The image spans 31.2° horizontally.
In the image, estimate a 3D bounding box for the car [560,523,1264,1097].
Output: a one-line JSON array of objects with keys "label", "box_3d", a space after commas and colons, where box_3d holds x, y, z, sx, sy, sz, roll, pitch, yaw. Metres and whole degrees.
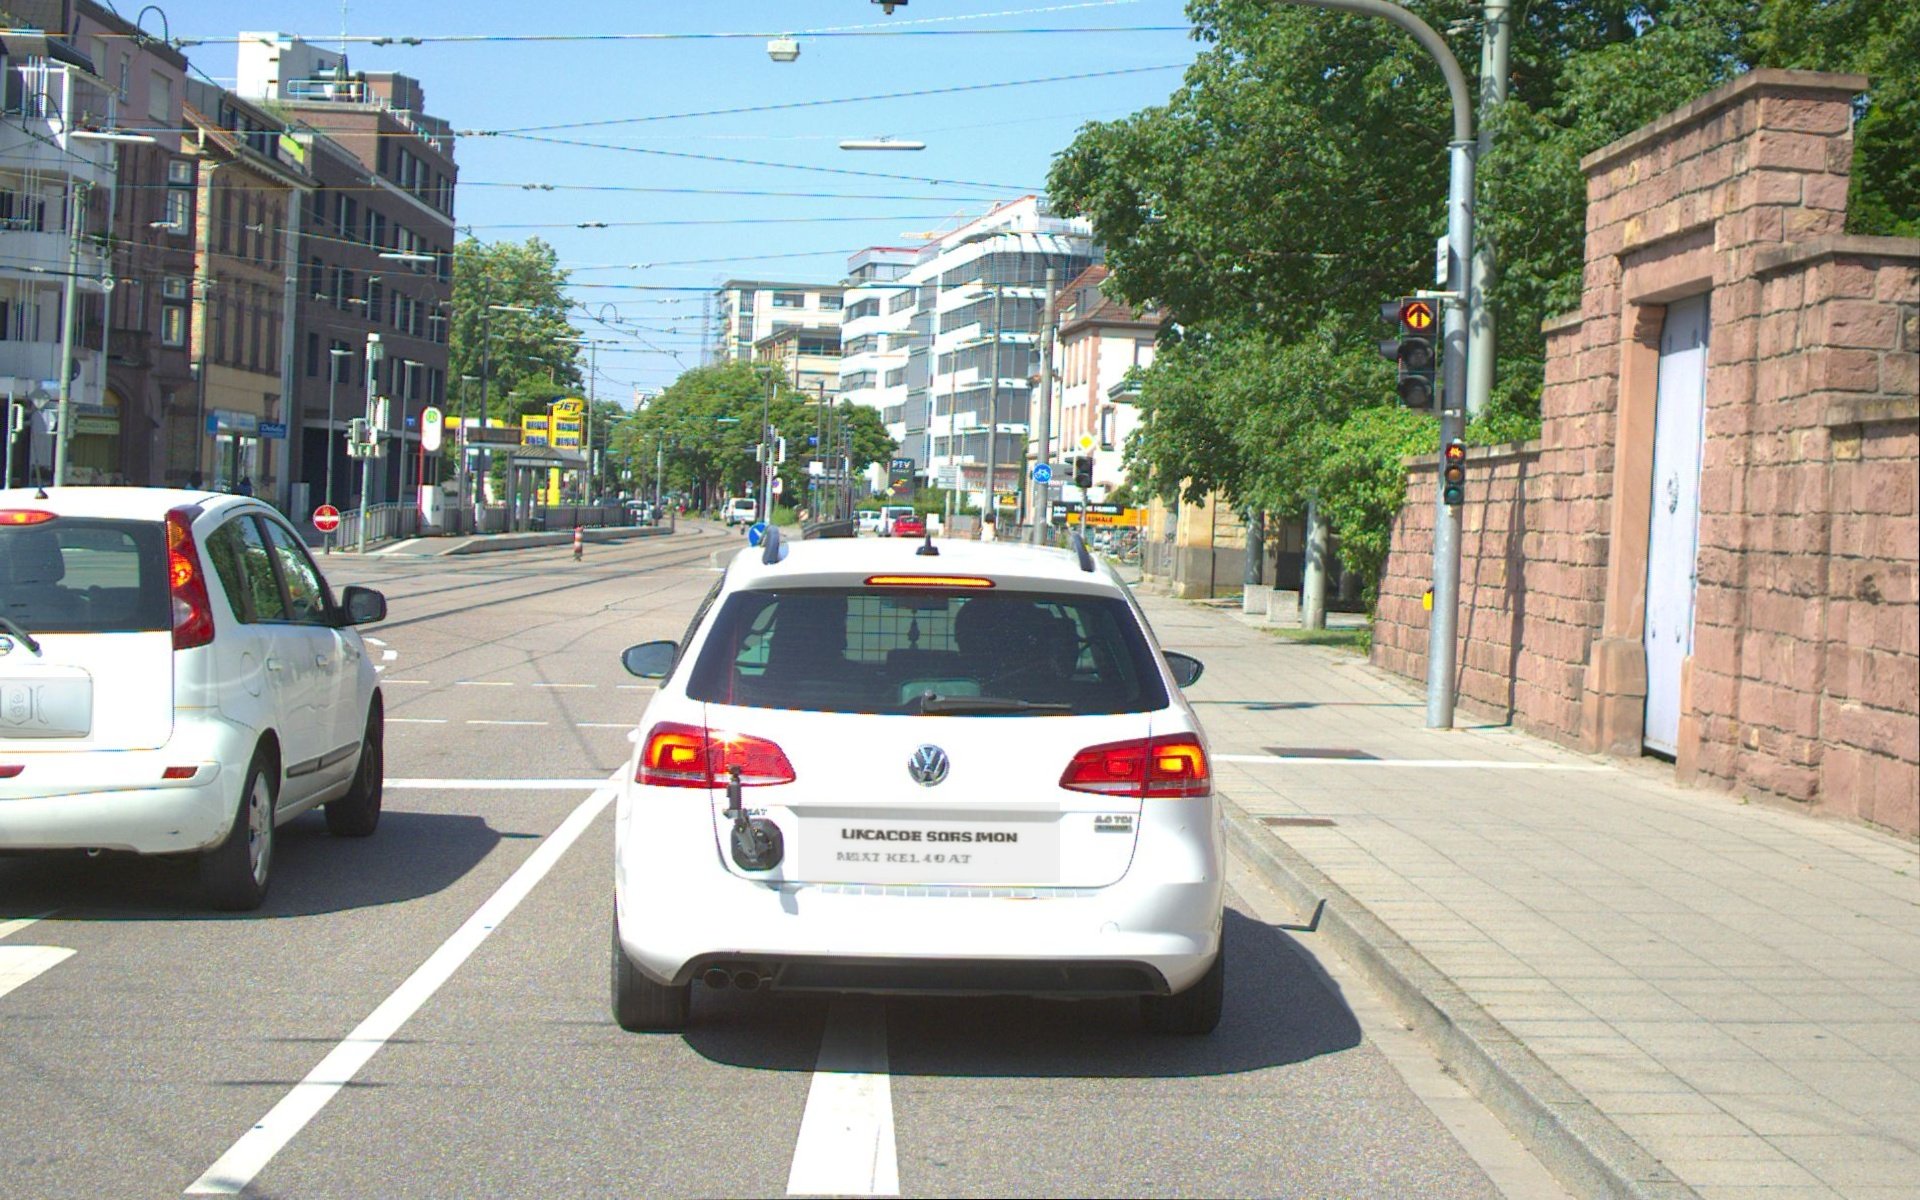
[{"label": "car", "box_3d": [-0.148, 0.502, 10.942, 1.808, 1.443, 4.000, 1, 2, -1]}]

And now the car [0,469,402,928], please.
[{"label": "car", "box_3d": [-3.369, 0.274, 13.862, 1.642, 1.561, 3.804, 1, 2, -1]}]

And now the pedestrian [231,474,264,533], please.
[{"label": "pedestrian", "box_3d": [-21.397, -2.888, 103.256, 0.861, 1.737, 0.975, 1, 0, -6]}]

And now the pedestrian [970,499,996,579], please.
[{"label": "pedestrian", "box_3d": [0.669, -1.777, 100.050, 0.690, 2.317, 1.232, 1, 0, 1]}]

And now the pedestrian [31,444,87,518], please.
[{"label": "pedestrian", "box_3d": [-21.588, -2.841, 82.402, 0.864, 1.737, 0.972, 1, 1, 45]}]

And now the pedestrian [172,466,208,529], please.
[{"label": "pedestrian", "box_3d": [-21.806, -2.896, 97.361, 0.861, 1.737, 0.975, 1, 0, -6]}]

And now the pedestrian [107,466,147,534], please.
[{"label": "pedestrian", "box_3d": [-21.628, -2.587, 89.248, 0.861, 1.737, 0.975, 1, 0, -6]}]
